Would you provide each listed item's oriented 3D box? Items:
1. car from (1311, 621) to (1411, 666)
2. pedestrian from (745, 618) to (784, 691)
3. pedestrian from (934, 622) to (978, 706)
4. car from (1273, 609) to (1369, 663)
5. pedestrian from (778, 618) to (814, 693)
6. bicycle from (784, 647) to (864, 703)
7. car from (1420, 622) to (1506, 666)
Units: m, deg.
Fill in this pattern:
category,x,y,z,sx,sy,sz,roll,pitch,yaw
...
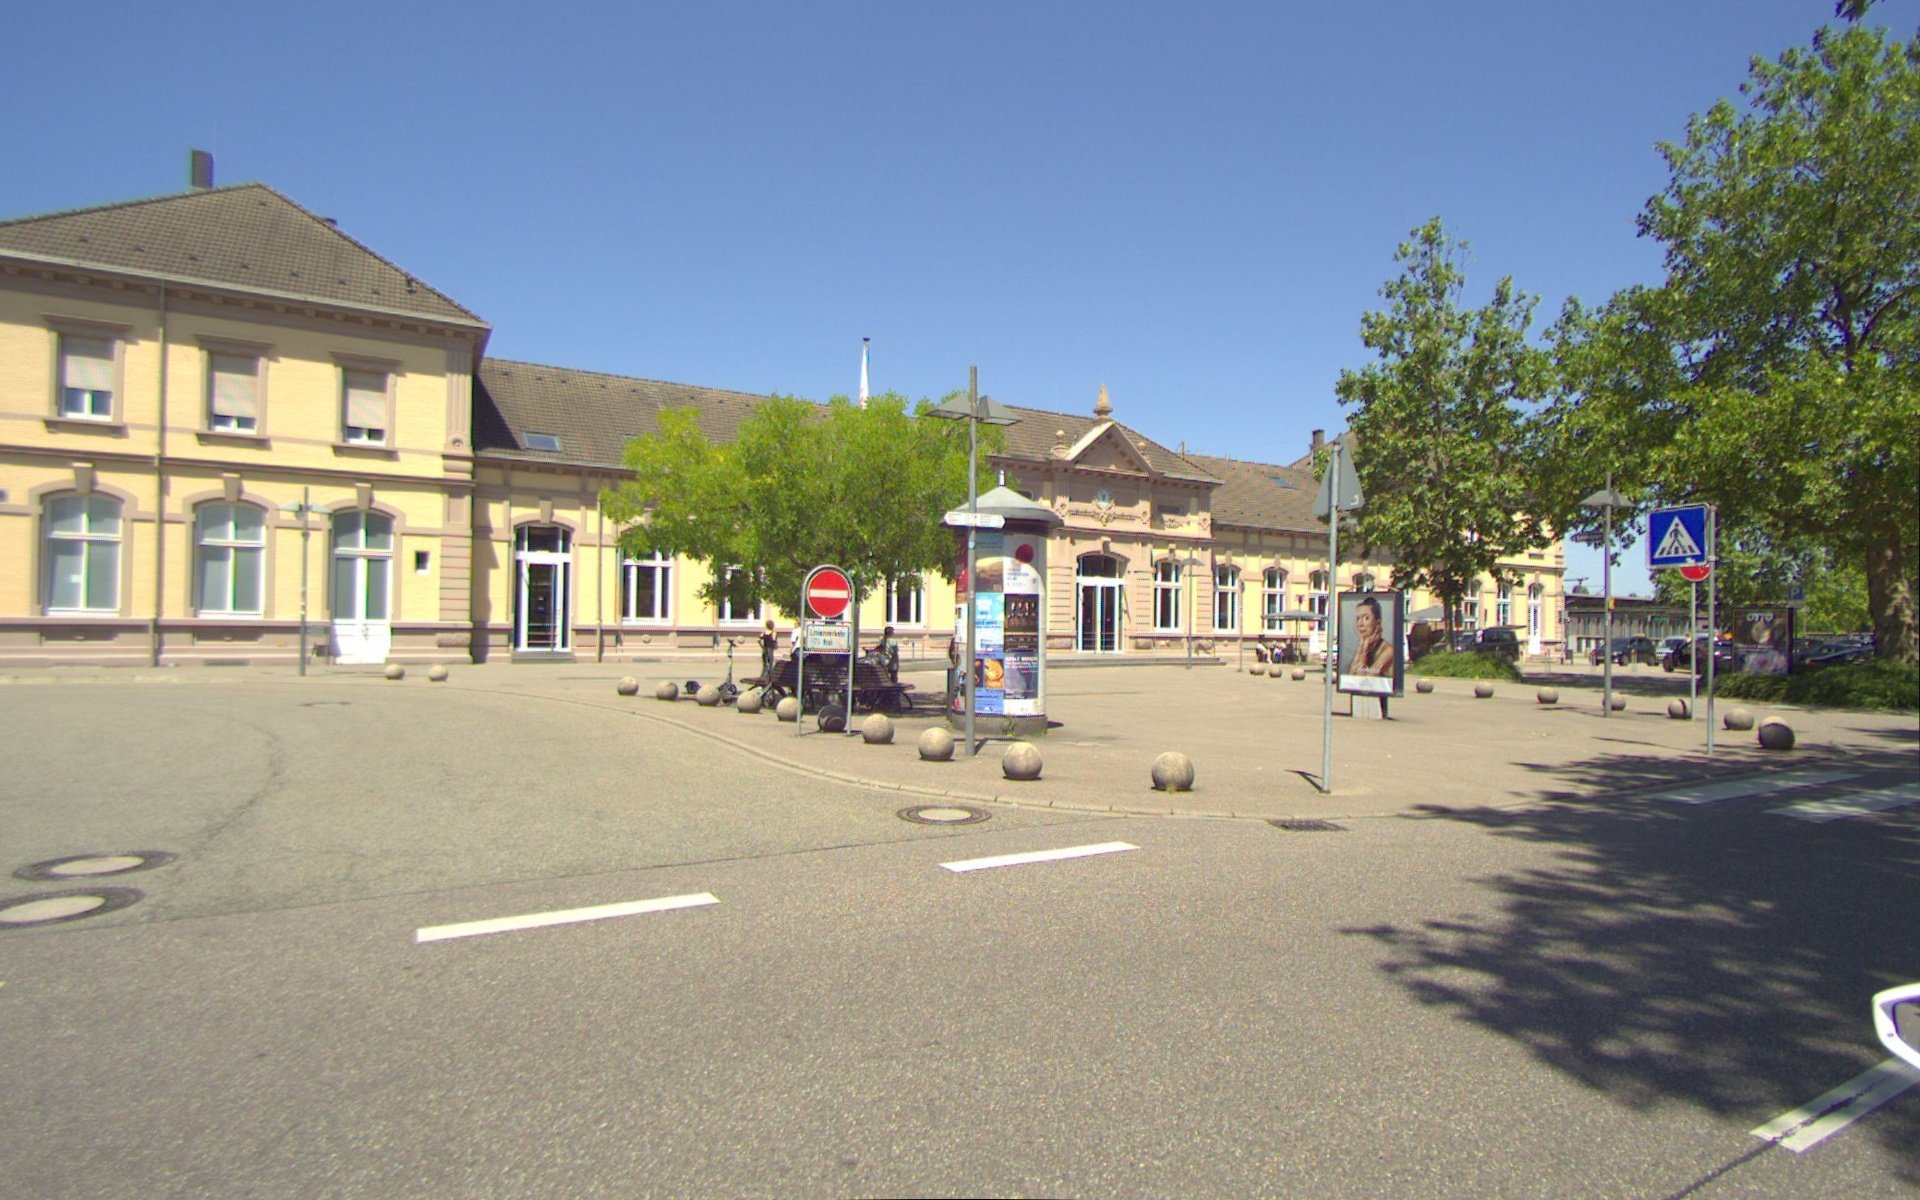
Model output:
category,x,y,z,sx,sy,sz,roll,pitch,yaw
car,18.266,1.980,45.698,4.720,1.942,1.743,3,-2,-31
pedestrian,-4.654,1.298,23.930,0.644,1.695,0.632,2,-2,14
pedestrian,-0.085,1.327,20.926,0.708,1.681,0.761,3,-2,-13
car,17.703,1.775,49.184,4.949,2.501,1.709,2,0,-32
pedestrian,-3.892,1.314,23.824,0.573,1.732,0.588,2,-2,14
bicycle,-2.778,1.515,20.452,1.770,1.044,0.487,0,-2,37
car,24.644,2.164,49.209,3.954,2.040,1.984,2,-2,-31
